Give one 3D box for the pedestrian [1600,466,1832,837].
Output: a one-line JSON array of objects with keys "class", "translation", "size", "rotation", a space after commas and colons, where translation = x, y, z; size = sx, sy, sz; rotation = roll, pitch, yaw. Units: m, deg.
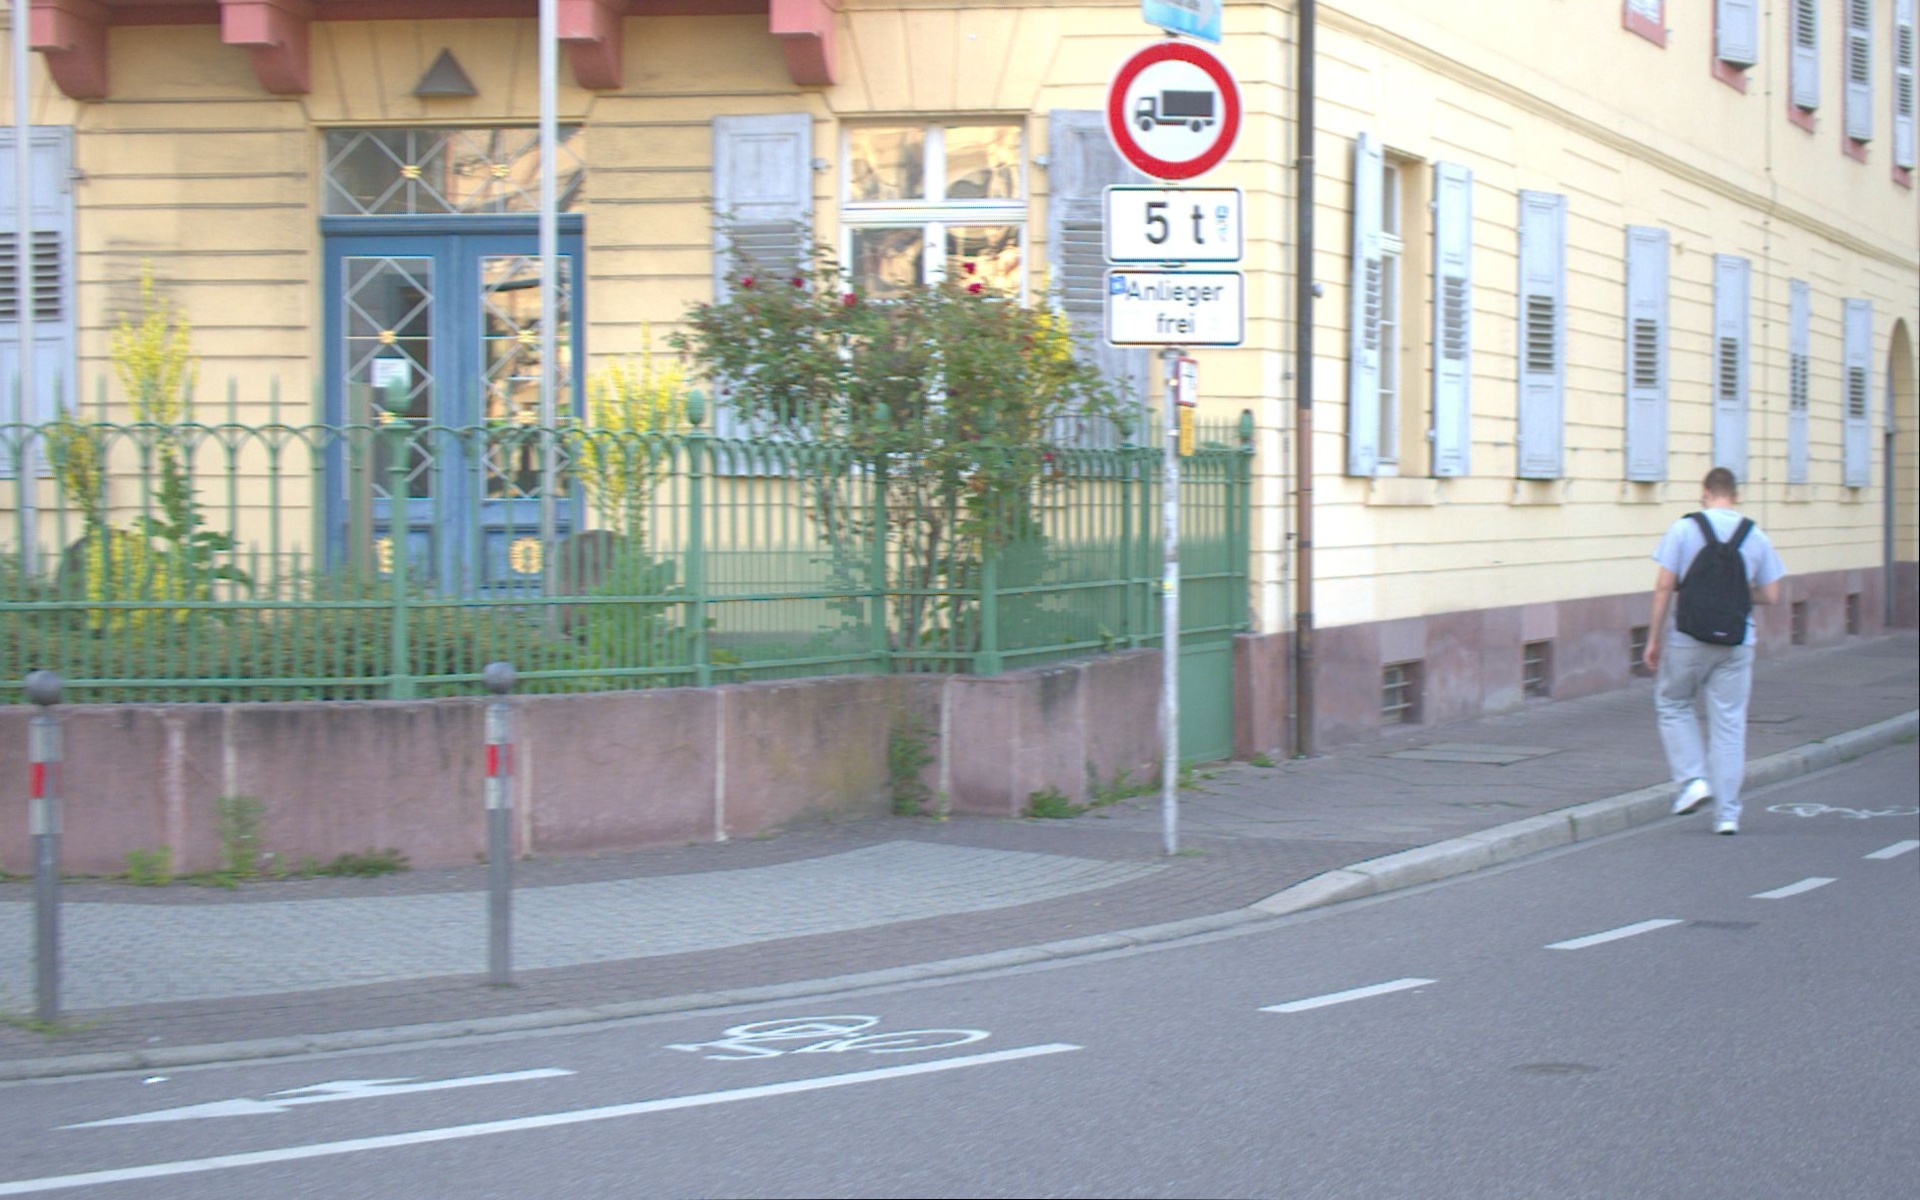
[{"class": "pedestrian", "translation": [3.637, 0.221, 16.519], "size": [0.877, 1.718, 0.828], "rotation": [1, 2, 28]}]
